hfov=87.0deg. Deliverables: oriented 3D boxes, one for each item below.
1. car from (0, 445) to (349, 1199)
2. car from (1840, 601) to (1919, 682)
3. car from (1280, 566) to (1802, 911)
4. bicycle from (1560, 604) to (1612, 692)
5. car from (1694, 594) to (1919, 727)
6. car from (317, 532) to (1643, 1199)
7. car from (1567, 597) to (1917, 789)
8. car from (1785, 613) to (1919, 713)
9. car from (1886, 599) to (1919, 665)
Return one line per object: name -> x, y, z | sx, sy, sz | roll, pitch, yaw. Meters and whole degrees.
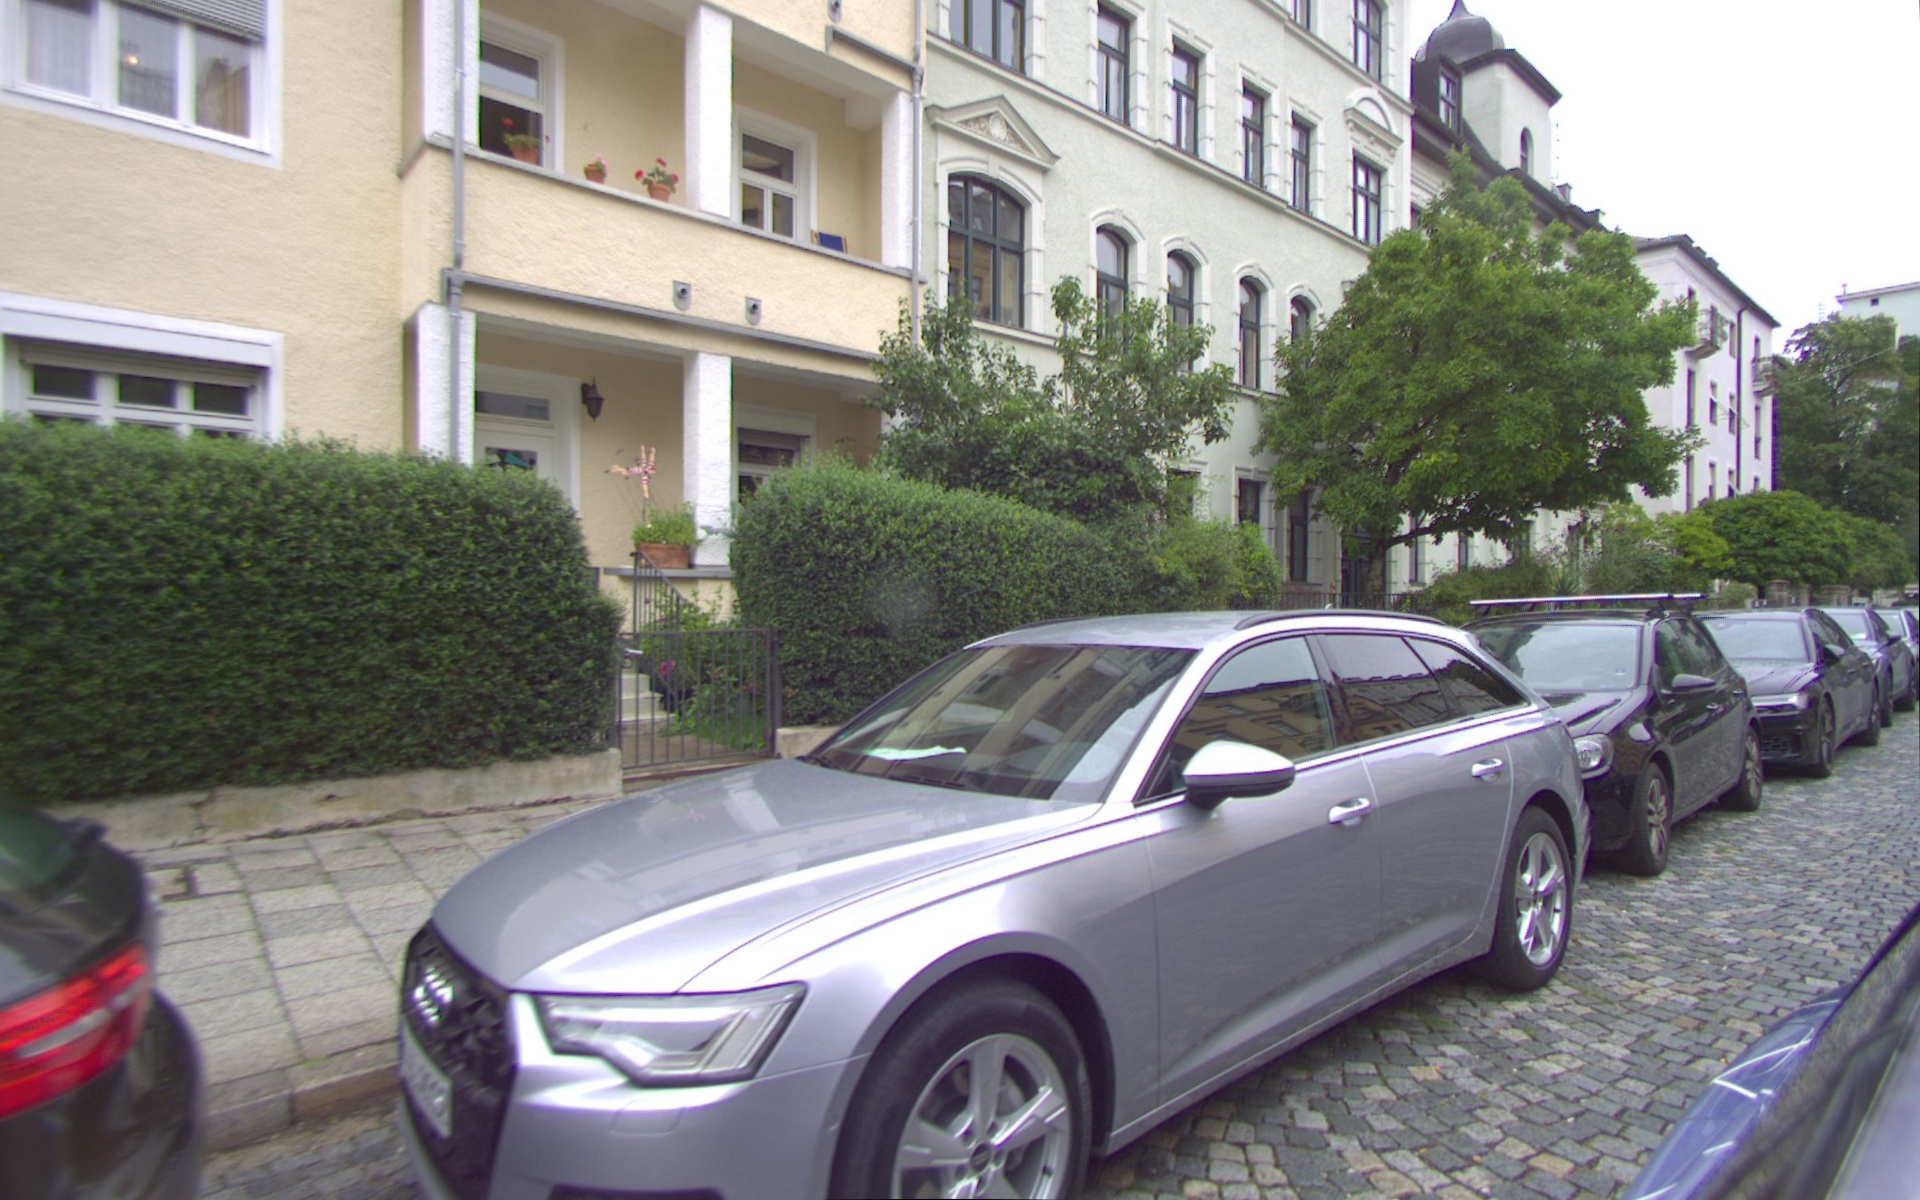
car -> -3.343, 0.634, 0.534 | 4.927, 1.572, 1.996 | 0, -2, -41
car -> 19.889, 0.777, 20.846 | 5.016, 1.522, 1.907 | 0, -2, -41
car -> 4.220, 0.680, 7.049 | 4.219, 1.675, 1.896 | 0, -1, -42
bicycle -> 9.237, 0.675, 14.916 | 0.578, 1.210, 1.628 | 0, 0, 34
car -> 11.842, 0.712, 13.801 | 4.729, 1.508, 1.885 | 0, -2, -41
car -> 0.604, 0.704, 3.805 | 4.898, 1.572, 1.997 | 0, -1, -40
car -> 8.139, 0.764, 10.330 | 4.961, 1.508, 1.821 | 0, -2, -41
car -> 15.674, 0.984, 17.221 | 4.401, 1.478, 1.758 | 0, -2, -41
car -> 23.700, 0.726, 24.374 | 3.622, 1.528, 1.669 | 0, -2, -42
